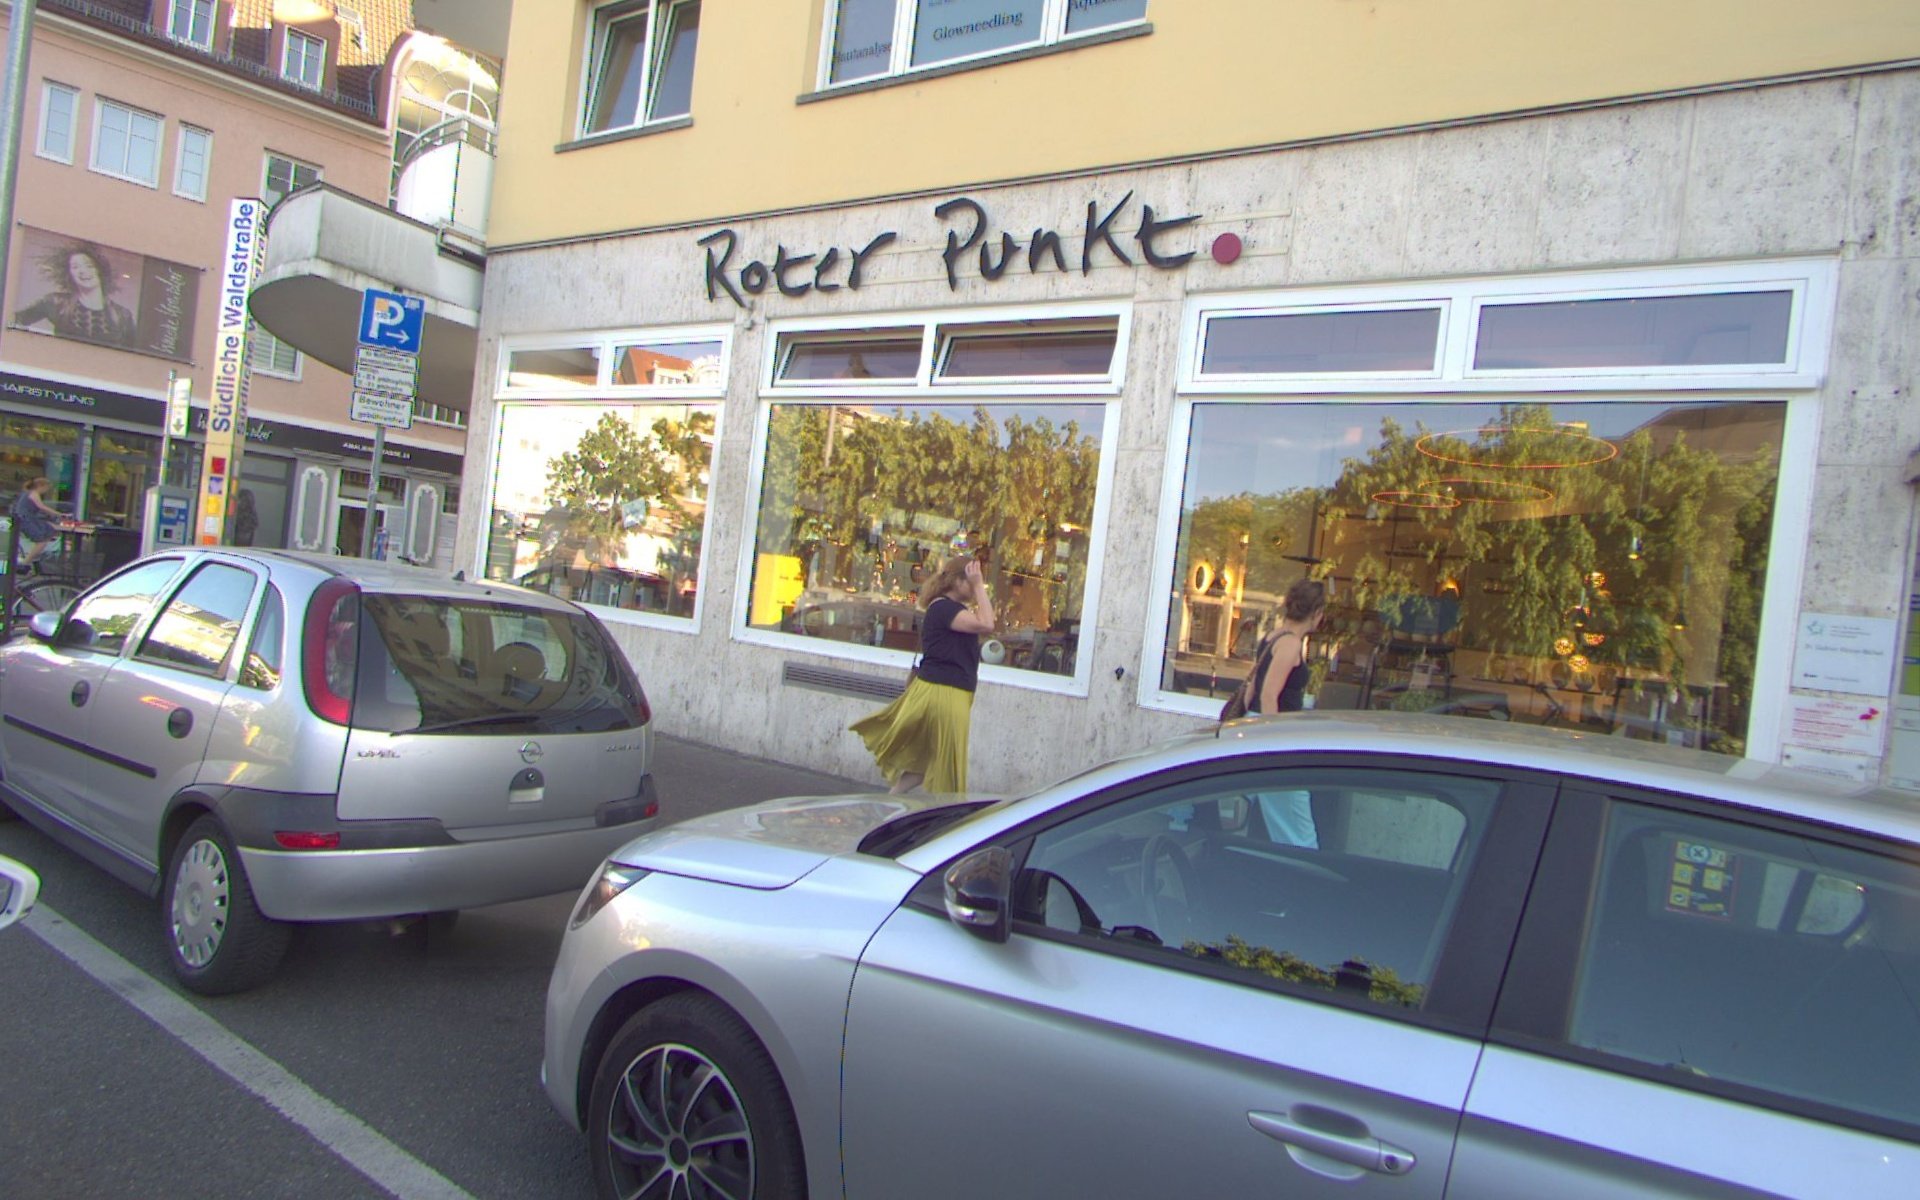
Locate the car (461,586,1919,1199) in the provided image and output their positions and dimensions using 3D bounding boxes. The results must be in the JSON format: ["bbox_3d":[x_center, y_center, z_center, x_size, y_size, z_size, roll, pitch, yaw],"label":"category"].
[{"bbox_3d":[0.762,0.920,2.269,3.598,1.444,1.550,6,-1,30],"label":"car"}]

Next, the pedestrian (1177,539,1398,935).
[{"bbox_3d":[1.523,0.617,4.789,0.635,1.685,0.659,7,0,0],"label":"pedestrian"}]

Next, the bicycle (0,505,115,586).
[{"bbox_3d":[-15.286,-0.926,16.580,0.700,1.131,1.930,6,-1,44],"label":"bicycle"}]

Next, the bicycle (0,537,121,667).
[{"bbox_3d":[-8.121,-0.004,8.211,0.348,1.051,1.871,6,1,38],"label":"bicycle"}]

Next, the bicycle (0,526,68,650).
[{"bbox_3d":[-9.112,-0.153,8.796,0.408,1.101,1.872,6,1,35],"label":"bicycle"}]

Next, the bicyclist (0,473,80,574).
[{"bbox_3d":[-15.236,-1.256,16.608,0.692,1.500,0.889,6,-1,44],"label":"bicyclist"}]

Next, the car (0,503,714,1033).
[{"bbox_3d":[-2.935,0.446,4.437,3.420,1.407,1.548,6,-1,33],"label":"car"}]

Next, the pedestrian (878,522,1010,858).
[{"bbox_3d":[-0.073,0.494,5.912,0.557,1.808,0.742,5,3,3],"label":"pedestrian"}]
